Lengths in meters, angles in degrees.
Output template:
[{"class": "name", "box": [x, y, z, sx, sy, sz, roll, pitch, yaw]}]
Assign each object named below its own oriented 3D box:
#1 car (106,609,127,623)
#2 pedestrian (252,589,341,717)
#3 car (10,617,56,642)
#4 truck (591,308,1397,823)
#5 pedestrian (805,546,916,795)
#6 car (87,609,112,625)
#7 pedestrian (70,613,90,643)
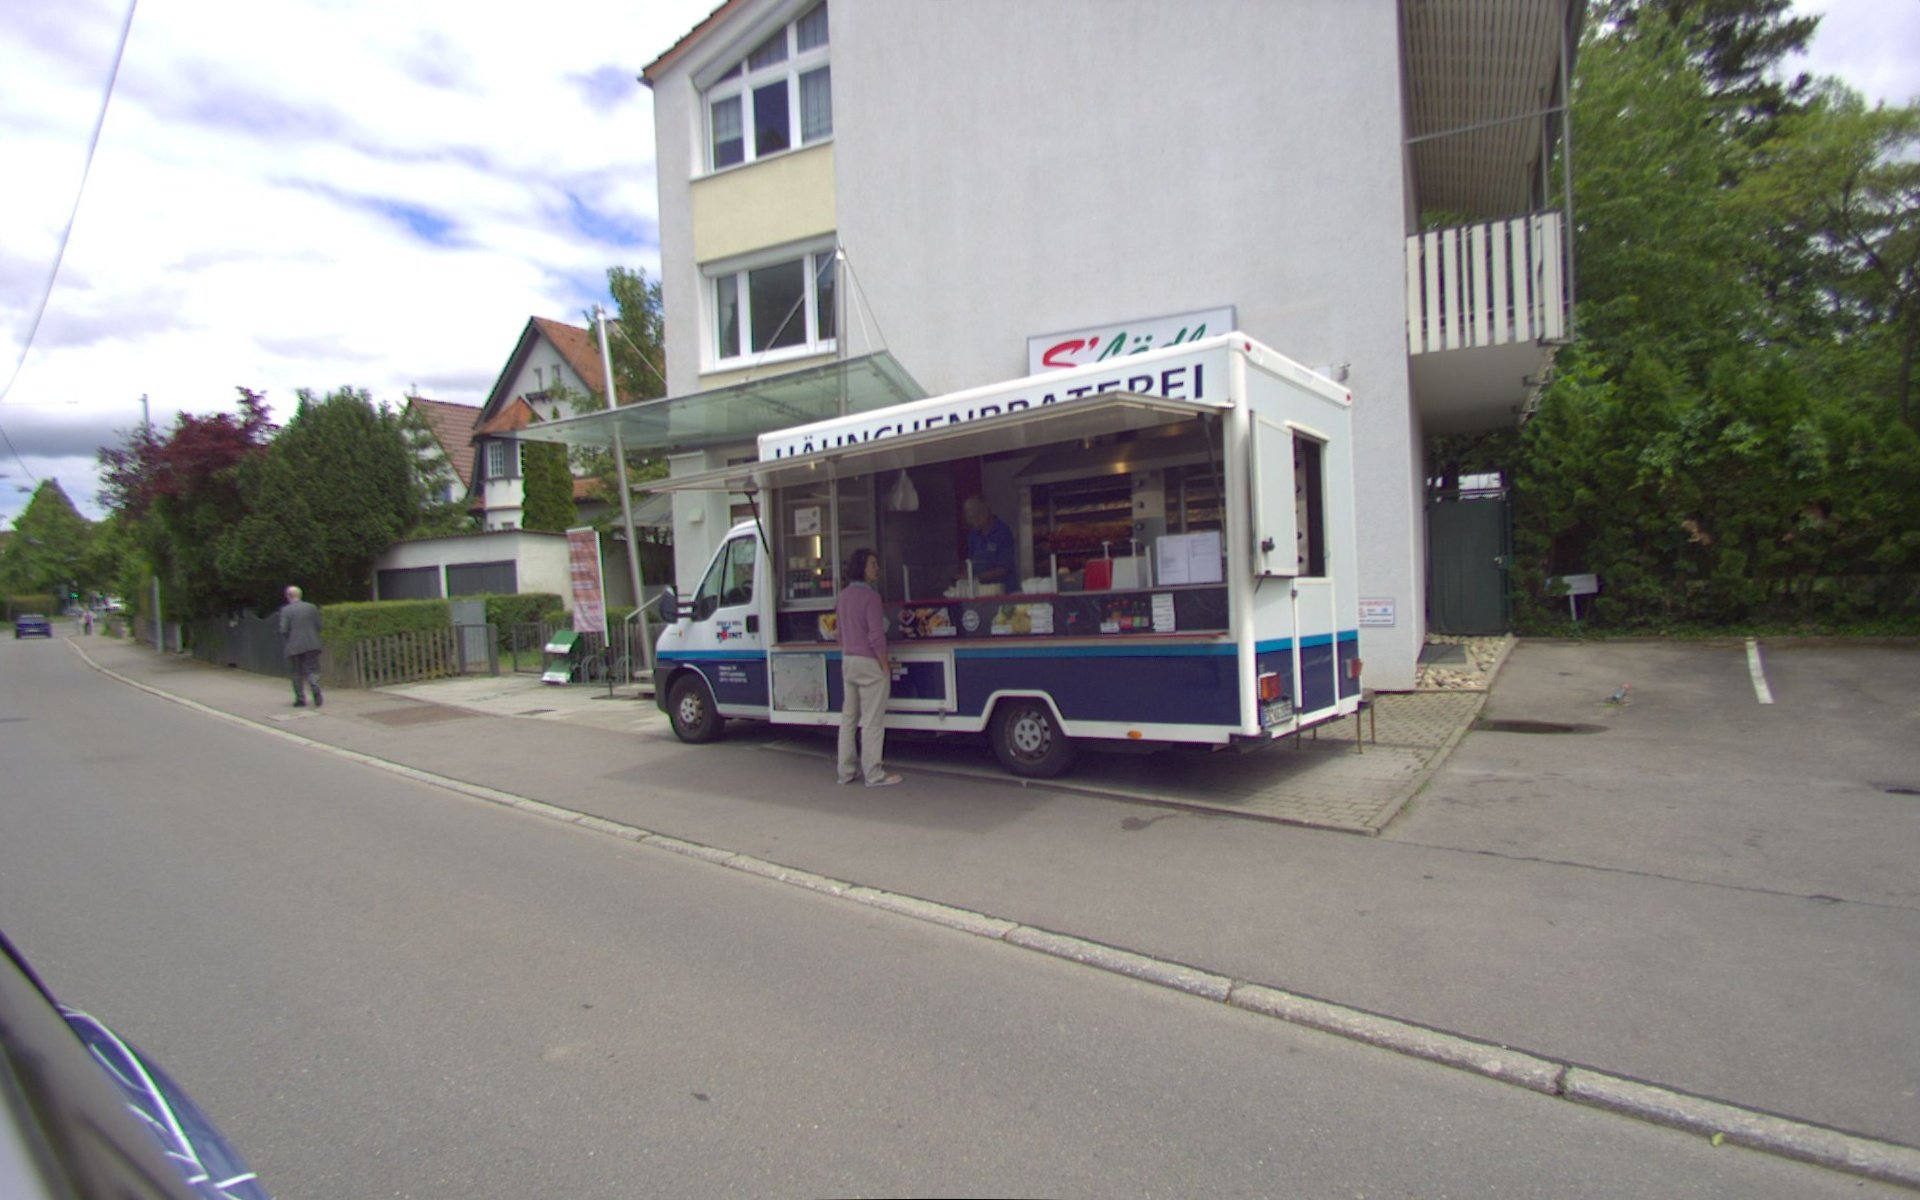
[{"class": "car", "box": [-115.990, 2.137, 139.221, 1.970, 1.709, 4.005, -5, 3, -42]}, {"class": "pedestrian", "box": [-9.369, 0.711, 14.277, 1.109, 1.699, 0.715, 0, 4, 43]}, {"class": "car", "box": [-58.035, 1.804, 63.418, 1.672, 1.442, 3.936, -2, 1, -36]}, {"class": "truck", "box": [-0.140, -0.176, 8.671, 6.698, 2.861, 2.449, -1, 1, 38]}, {"class": "pedestrian", "box": [-0.715, 0.486, 7.286, 0.596, 1.707, 0.397, -1, 3, 38]}, {"class": "car", "box": [-92.342, 1.790, 108.569, 1.819, 1.668, 4.142, 1, -1, -44]}, {"class": "pedestrian", "box": [-53.539, 1.718, 61.584, 0.810, 1.757, 0.605, -5, 3, -41]}]
